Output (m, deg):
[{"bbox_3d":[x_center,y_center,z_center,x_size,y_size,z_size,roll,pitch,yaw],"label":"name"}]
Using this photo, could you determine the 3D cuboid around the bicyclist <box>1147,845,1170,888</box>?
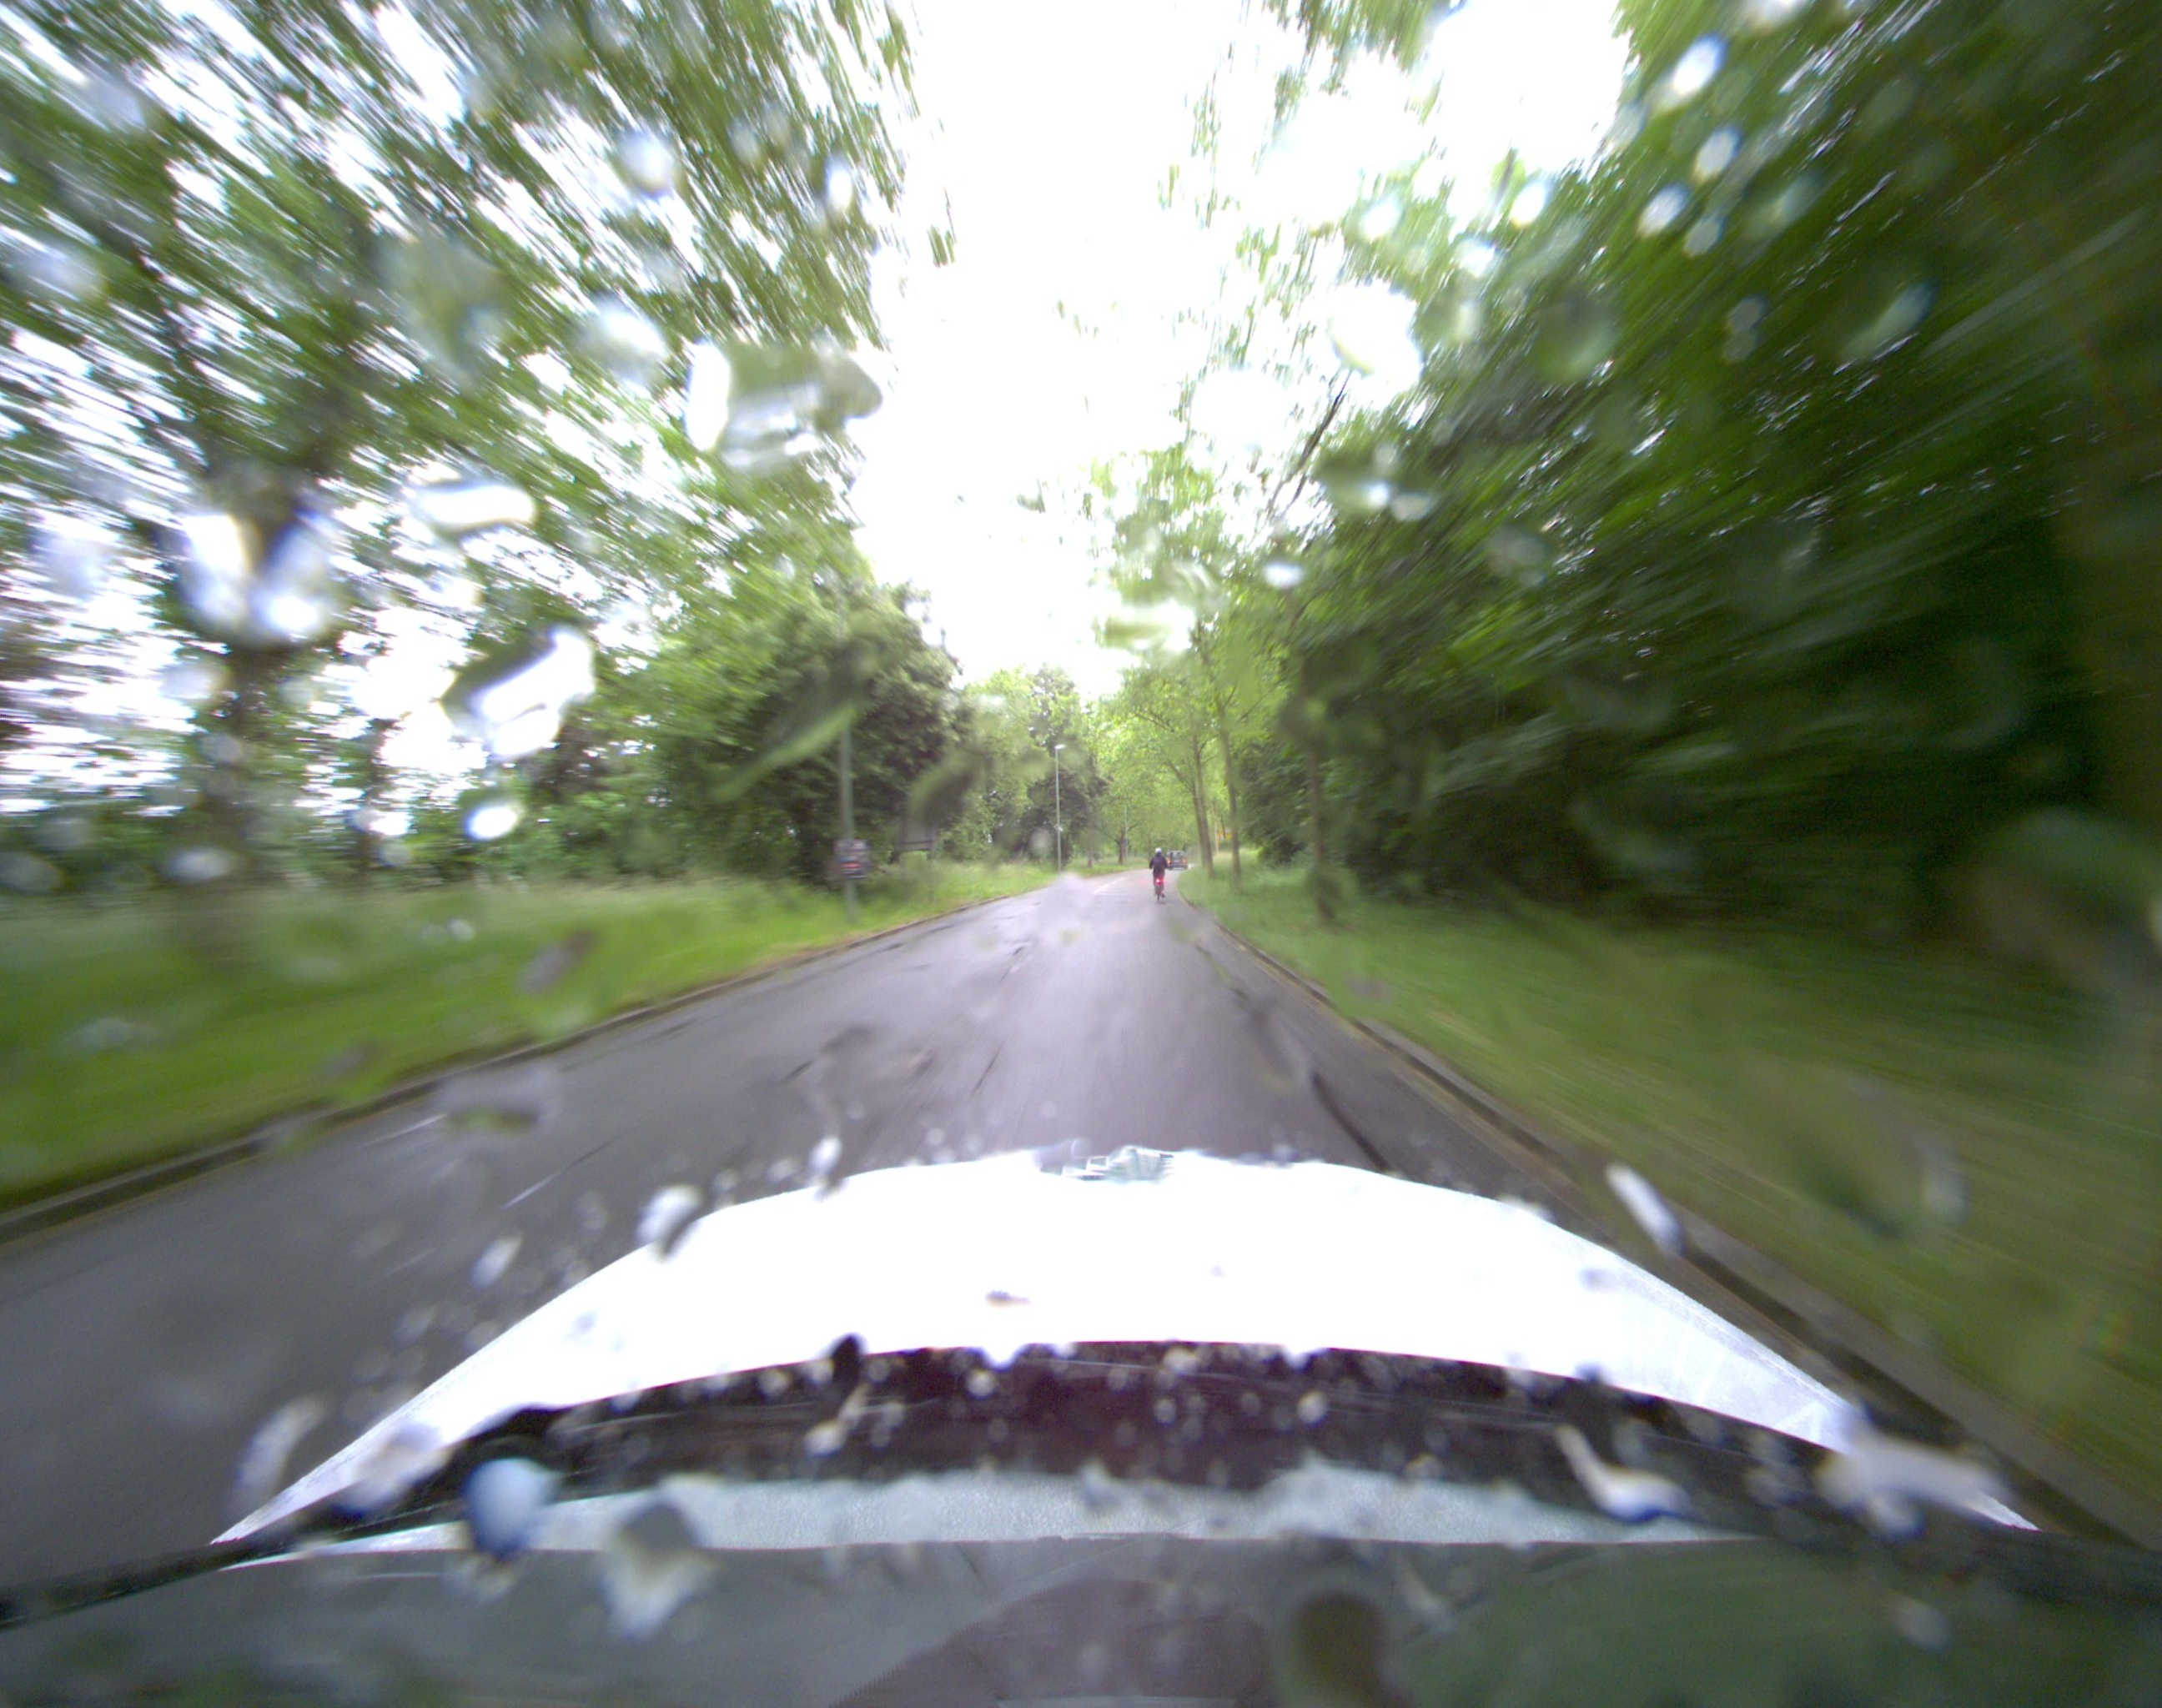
[{"bbox_3d":[2.559,0.411,26.951,0.726,1.411,0.974,0,0,4],"label":"bicyclist"}]

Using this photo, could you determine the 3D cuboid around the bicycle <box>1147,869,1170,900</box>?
[{"bbox_3d":[2.572,0.990,27.087,0.726,0.974,2.176,0,0,5],"label":"bicycle"}]

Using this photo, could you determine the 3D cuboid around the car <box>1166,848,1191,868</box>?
[{"bbox_3d":[9.664,0.387,80.235,1.972,1.926,4.014,-1,0,12],"label":"car"}]
